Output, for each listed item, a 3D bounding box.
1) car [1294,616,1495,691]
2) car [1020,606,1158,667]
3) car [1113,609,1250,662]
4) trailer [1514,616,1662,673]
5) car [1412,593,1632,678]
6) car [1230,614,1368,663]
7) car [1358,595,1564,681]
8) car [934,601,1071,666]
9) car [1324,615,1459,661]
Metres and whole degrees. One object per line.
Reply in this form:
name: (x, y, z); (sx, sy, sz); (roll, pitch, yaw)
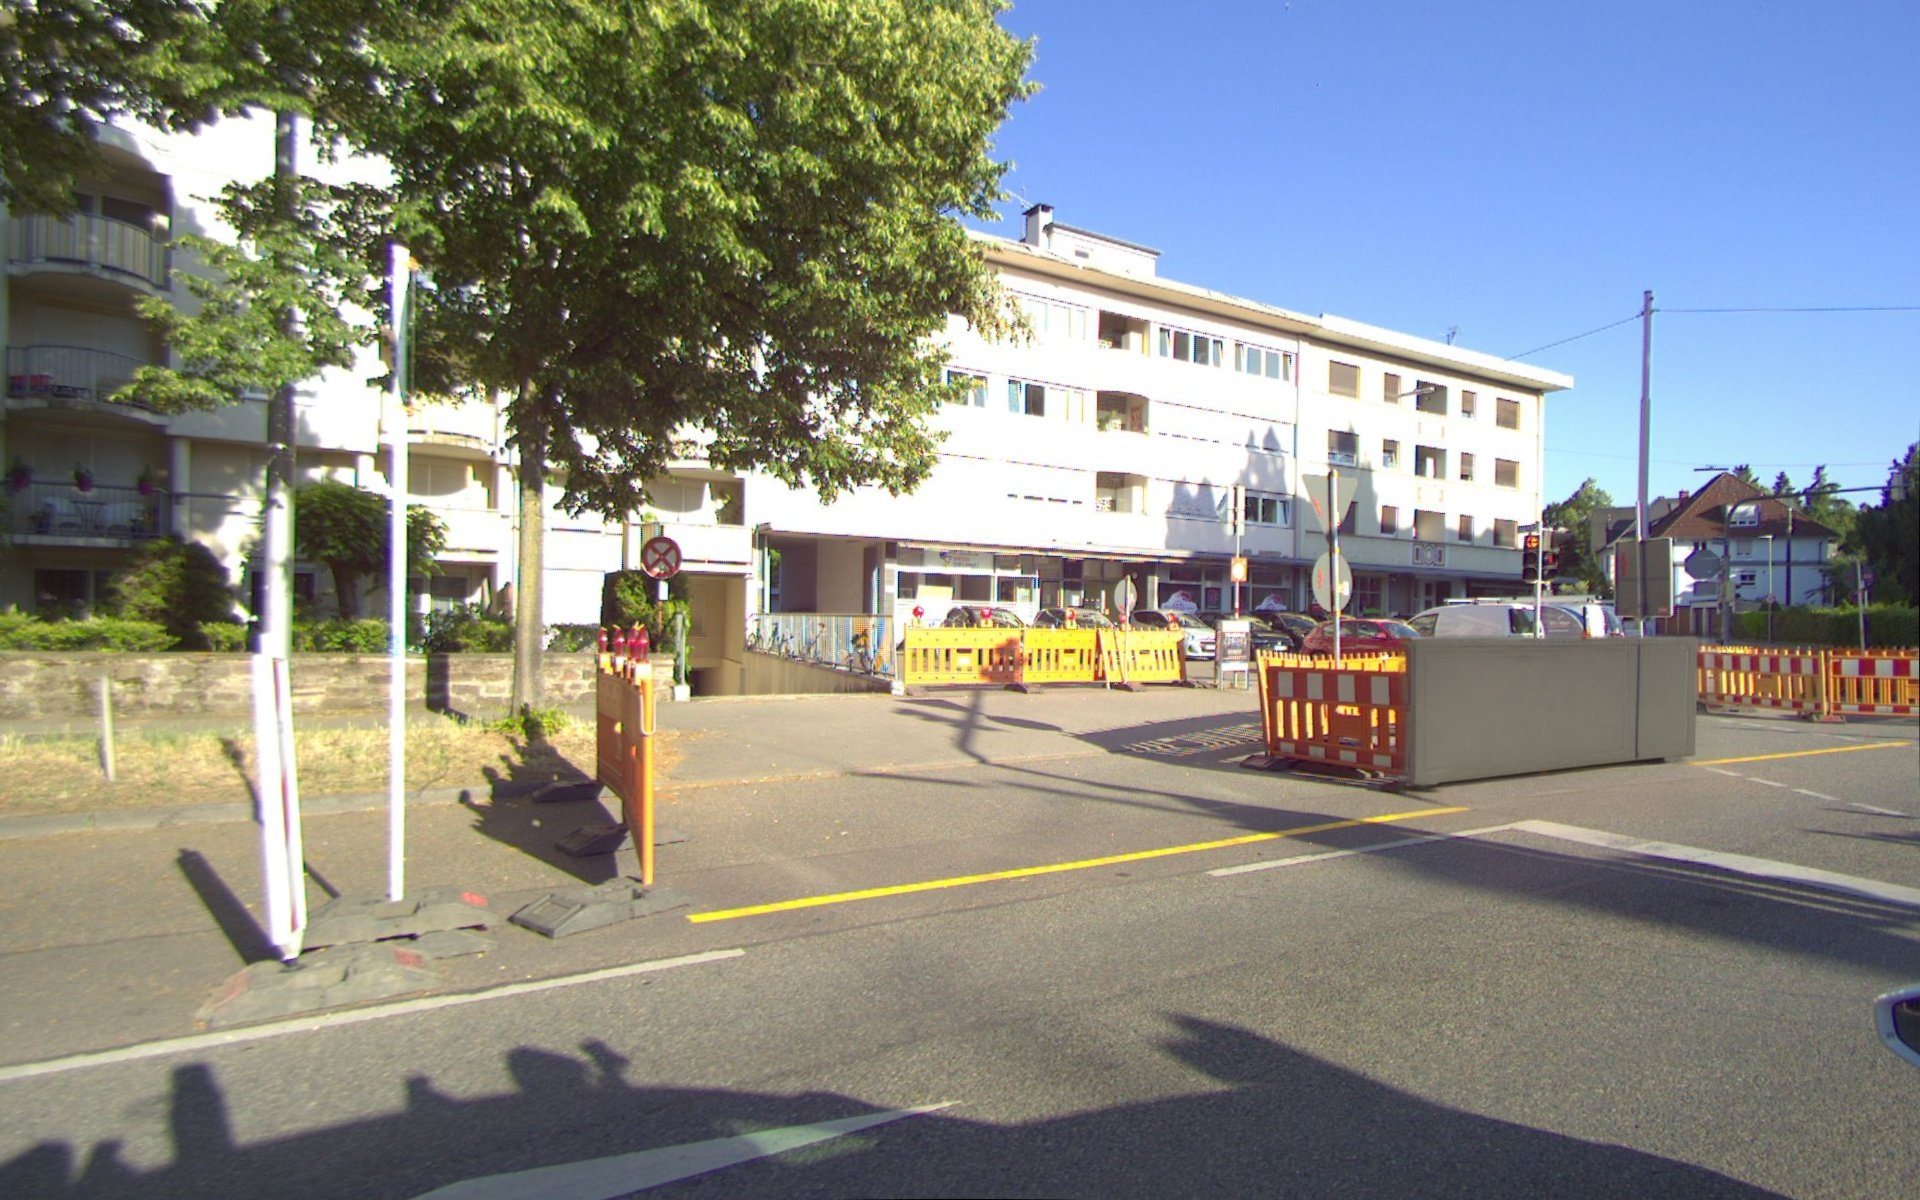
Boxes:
car: (10.203, 1.203, 23.861); (1.978, 1.499, 3.968); (1, 0, -32)
car: (3.667, 1.022, 29.415); (1.974, 1.530, 4.298); (1, 1, -26)
car: (6.911, 1.076, 31.770); (1.974, 1.417, 4.298); (1, 1, -26)
trailer: (17.902, 1.230, 28.745); (1.556, 1.415, 3.238); (1, 1, -30)
car: (14.731, 0.852, 26.610); (2.093, 1.991, 4.644); (1, 1, -30)
car: (11.336, 1.252, 33.877); (1.974, 1.417, 4.298); (1, 1, -26)
car: (12.390, 0.867, 25.172); (1.973, 1.876, 4.299); (1, 1, -26)
car: (1.068, 0.864, 27.689); (1.974, 1.532, 4.298); (1, 1, -26)
car: (15.764, 1.354, 36.932); (1.974, 1.417, 4.298); (1, 1, -26)
